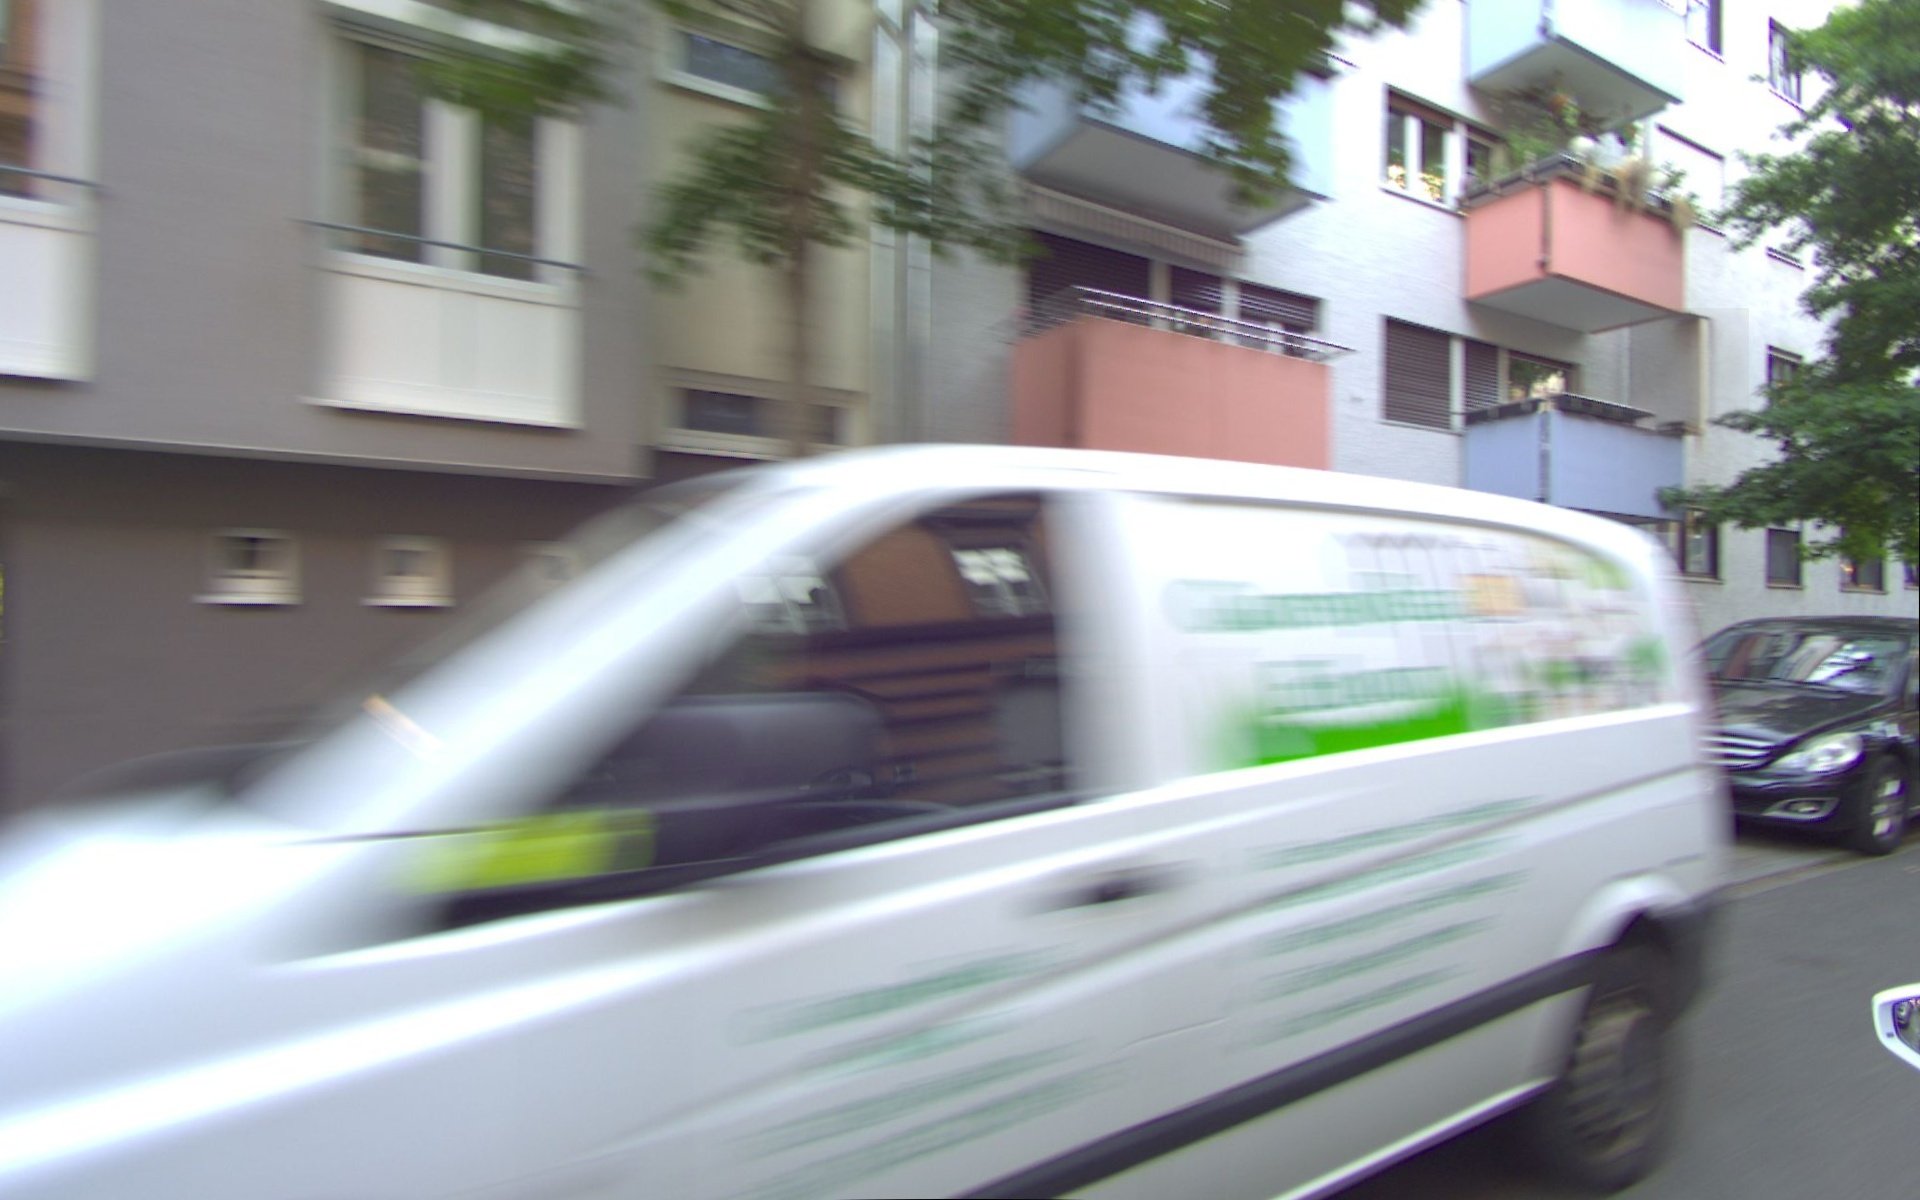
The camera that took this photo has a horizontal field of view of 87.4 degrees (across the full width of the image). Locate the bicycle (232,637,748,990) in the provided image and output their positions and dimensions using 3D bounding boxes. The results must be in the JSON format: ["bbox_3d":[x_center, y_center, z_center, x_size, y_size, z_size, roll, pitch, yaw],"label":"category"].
[{"bbox_3d":[-1.827,0.752,3.992,1.786,1.179,0.699,0,-1,12],"label":"bicycle"}]

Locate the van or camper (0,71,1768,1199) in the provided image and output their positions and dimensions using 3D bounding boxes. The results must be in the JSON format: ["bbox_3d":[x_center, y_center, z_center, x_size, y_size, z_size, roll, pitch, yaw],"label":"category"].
[{"bbox_3d":[0.043,0.465,2.673,4.700,1.867,1.867,1,-1,-32],"label":"van or camper"}]

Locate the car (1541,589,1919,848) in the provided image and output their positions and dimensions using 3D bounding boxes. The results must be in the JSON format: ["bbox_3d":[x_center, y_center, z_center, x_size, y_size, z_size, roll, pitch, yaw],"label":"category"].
[{"bbox_3d":[7.434,0.825,8.710,4.864,1.669,1.984,1,1,-30],"label":"car"}]
